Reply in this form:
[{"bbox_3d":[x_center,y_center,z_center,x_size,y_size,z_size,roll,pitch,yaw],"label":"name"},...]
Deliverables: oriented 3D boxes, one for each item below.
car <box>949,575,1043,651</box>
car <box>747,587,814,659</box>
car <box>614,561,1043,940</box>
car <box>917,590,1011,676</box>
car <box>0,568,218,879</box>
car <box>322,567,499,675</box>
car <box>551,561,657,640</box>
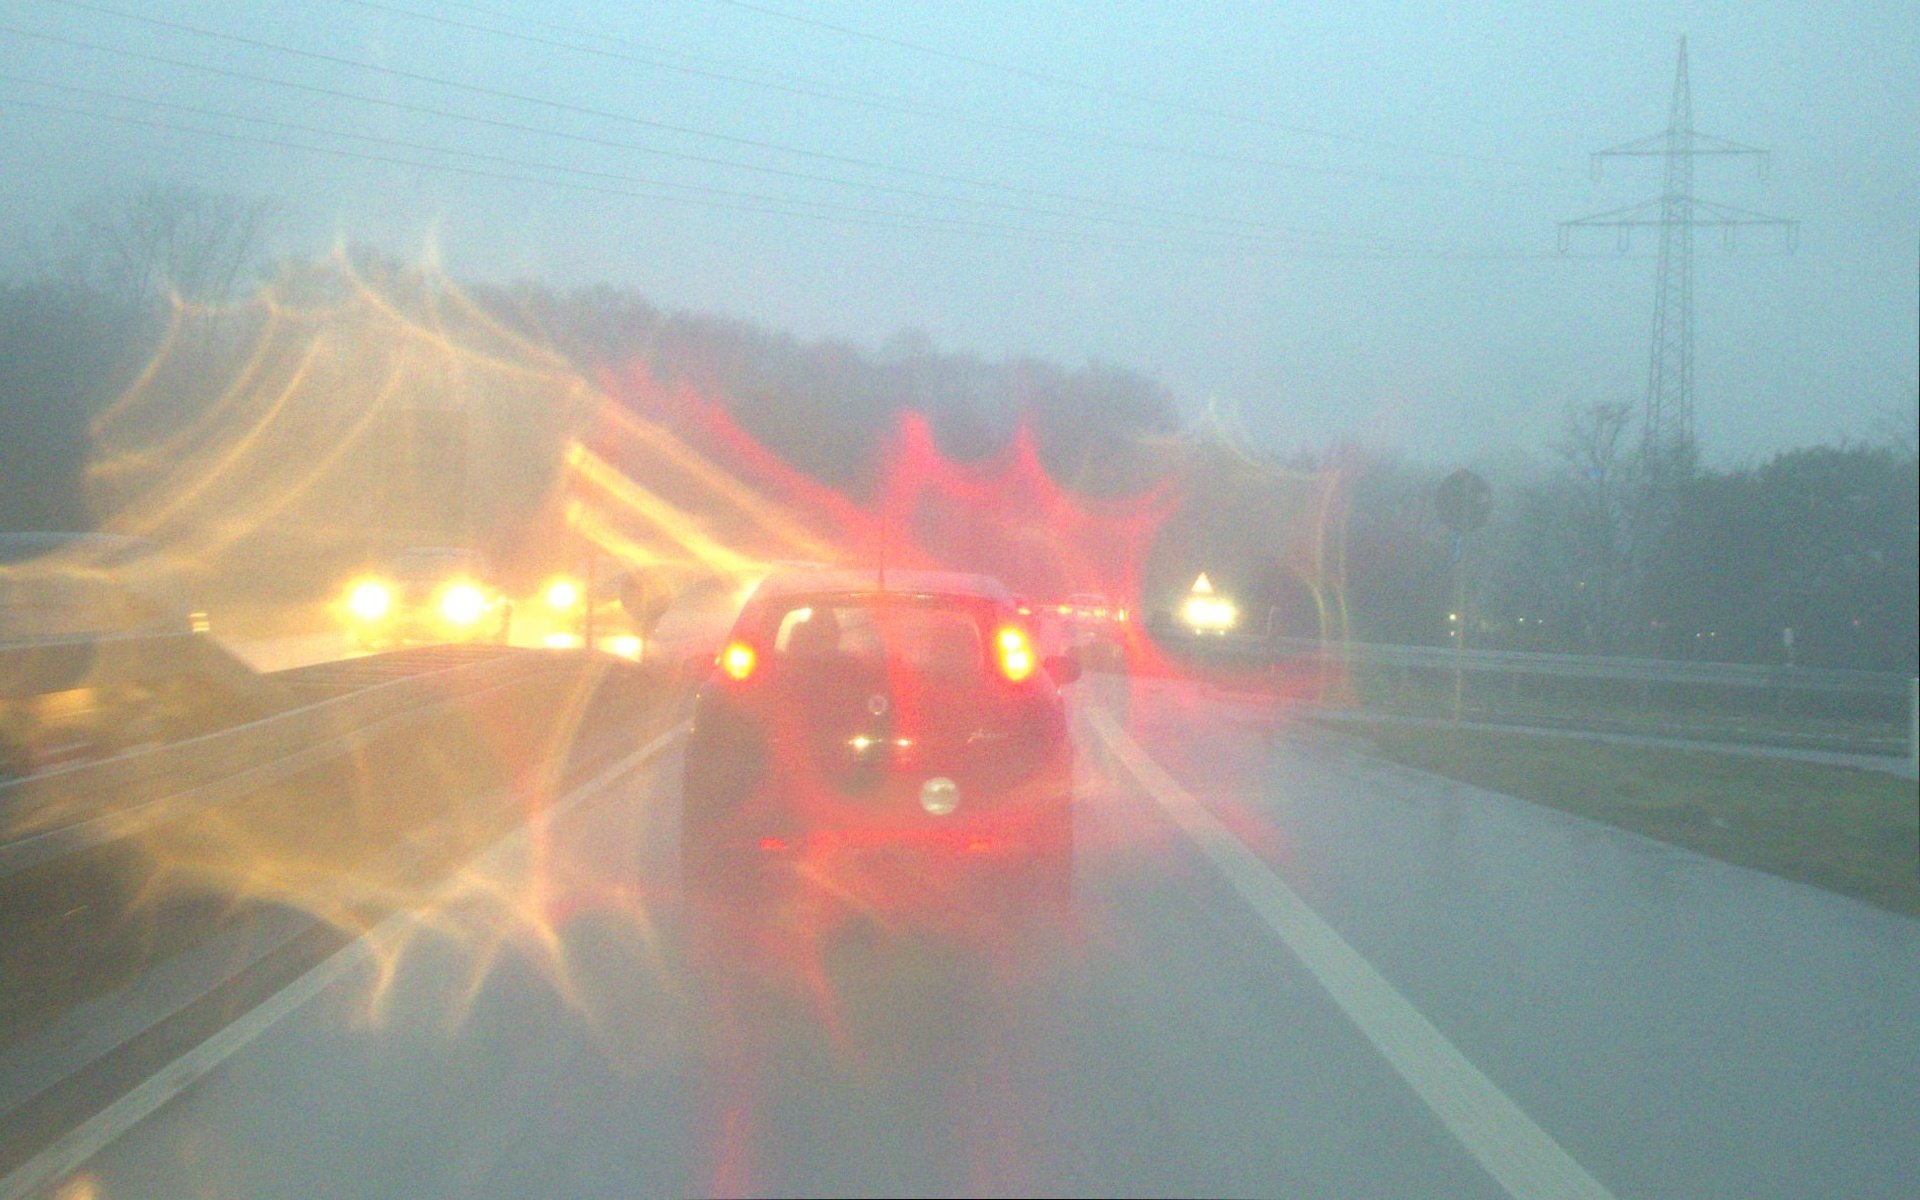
[{"bbox_3d":[1.016,0.344,94.431,1.947,1.738,3.999,10,1,6],"label":"car"},{"bbox_3d":[-5.476,0.679,105.329,1.871,2.130,5.180,0,0,-1],"label":"car"},{"bbox_3d":[-0.520,0.599,15.934,1.730,1.527,4.042,0,0,0],"label":"car"},{"bbox_3d":[0.087,0.719,76.707,1.946,1.739,4.000,4,0,0],"label":"car"},{"bbox_3d":[-7.075,0.812,25.969,1.993,2.007,5.000,4,0,-3],"label":"car"},{"bbox_3d":[-7.983,0.281,50.322,1.993,1.467,4.473,1,0,-2],"label":"car"},{"bbox_3d":[-6.967,0.000,67.602,1.646,1.496,4.000,0,0,0],"label":"car"}]
